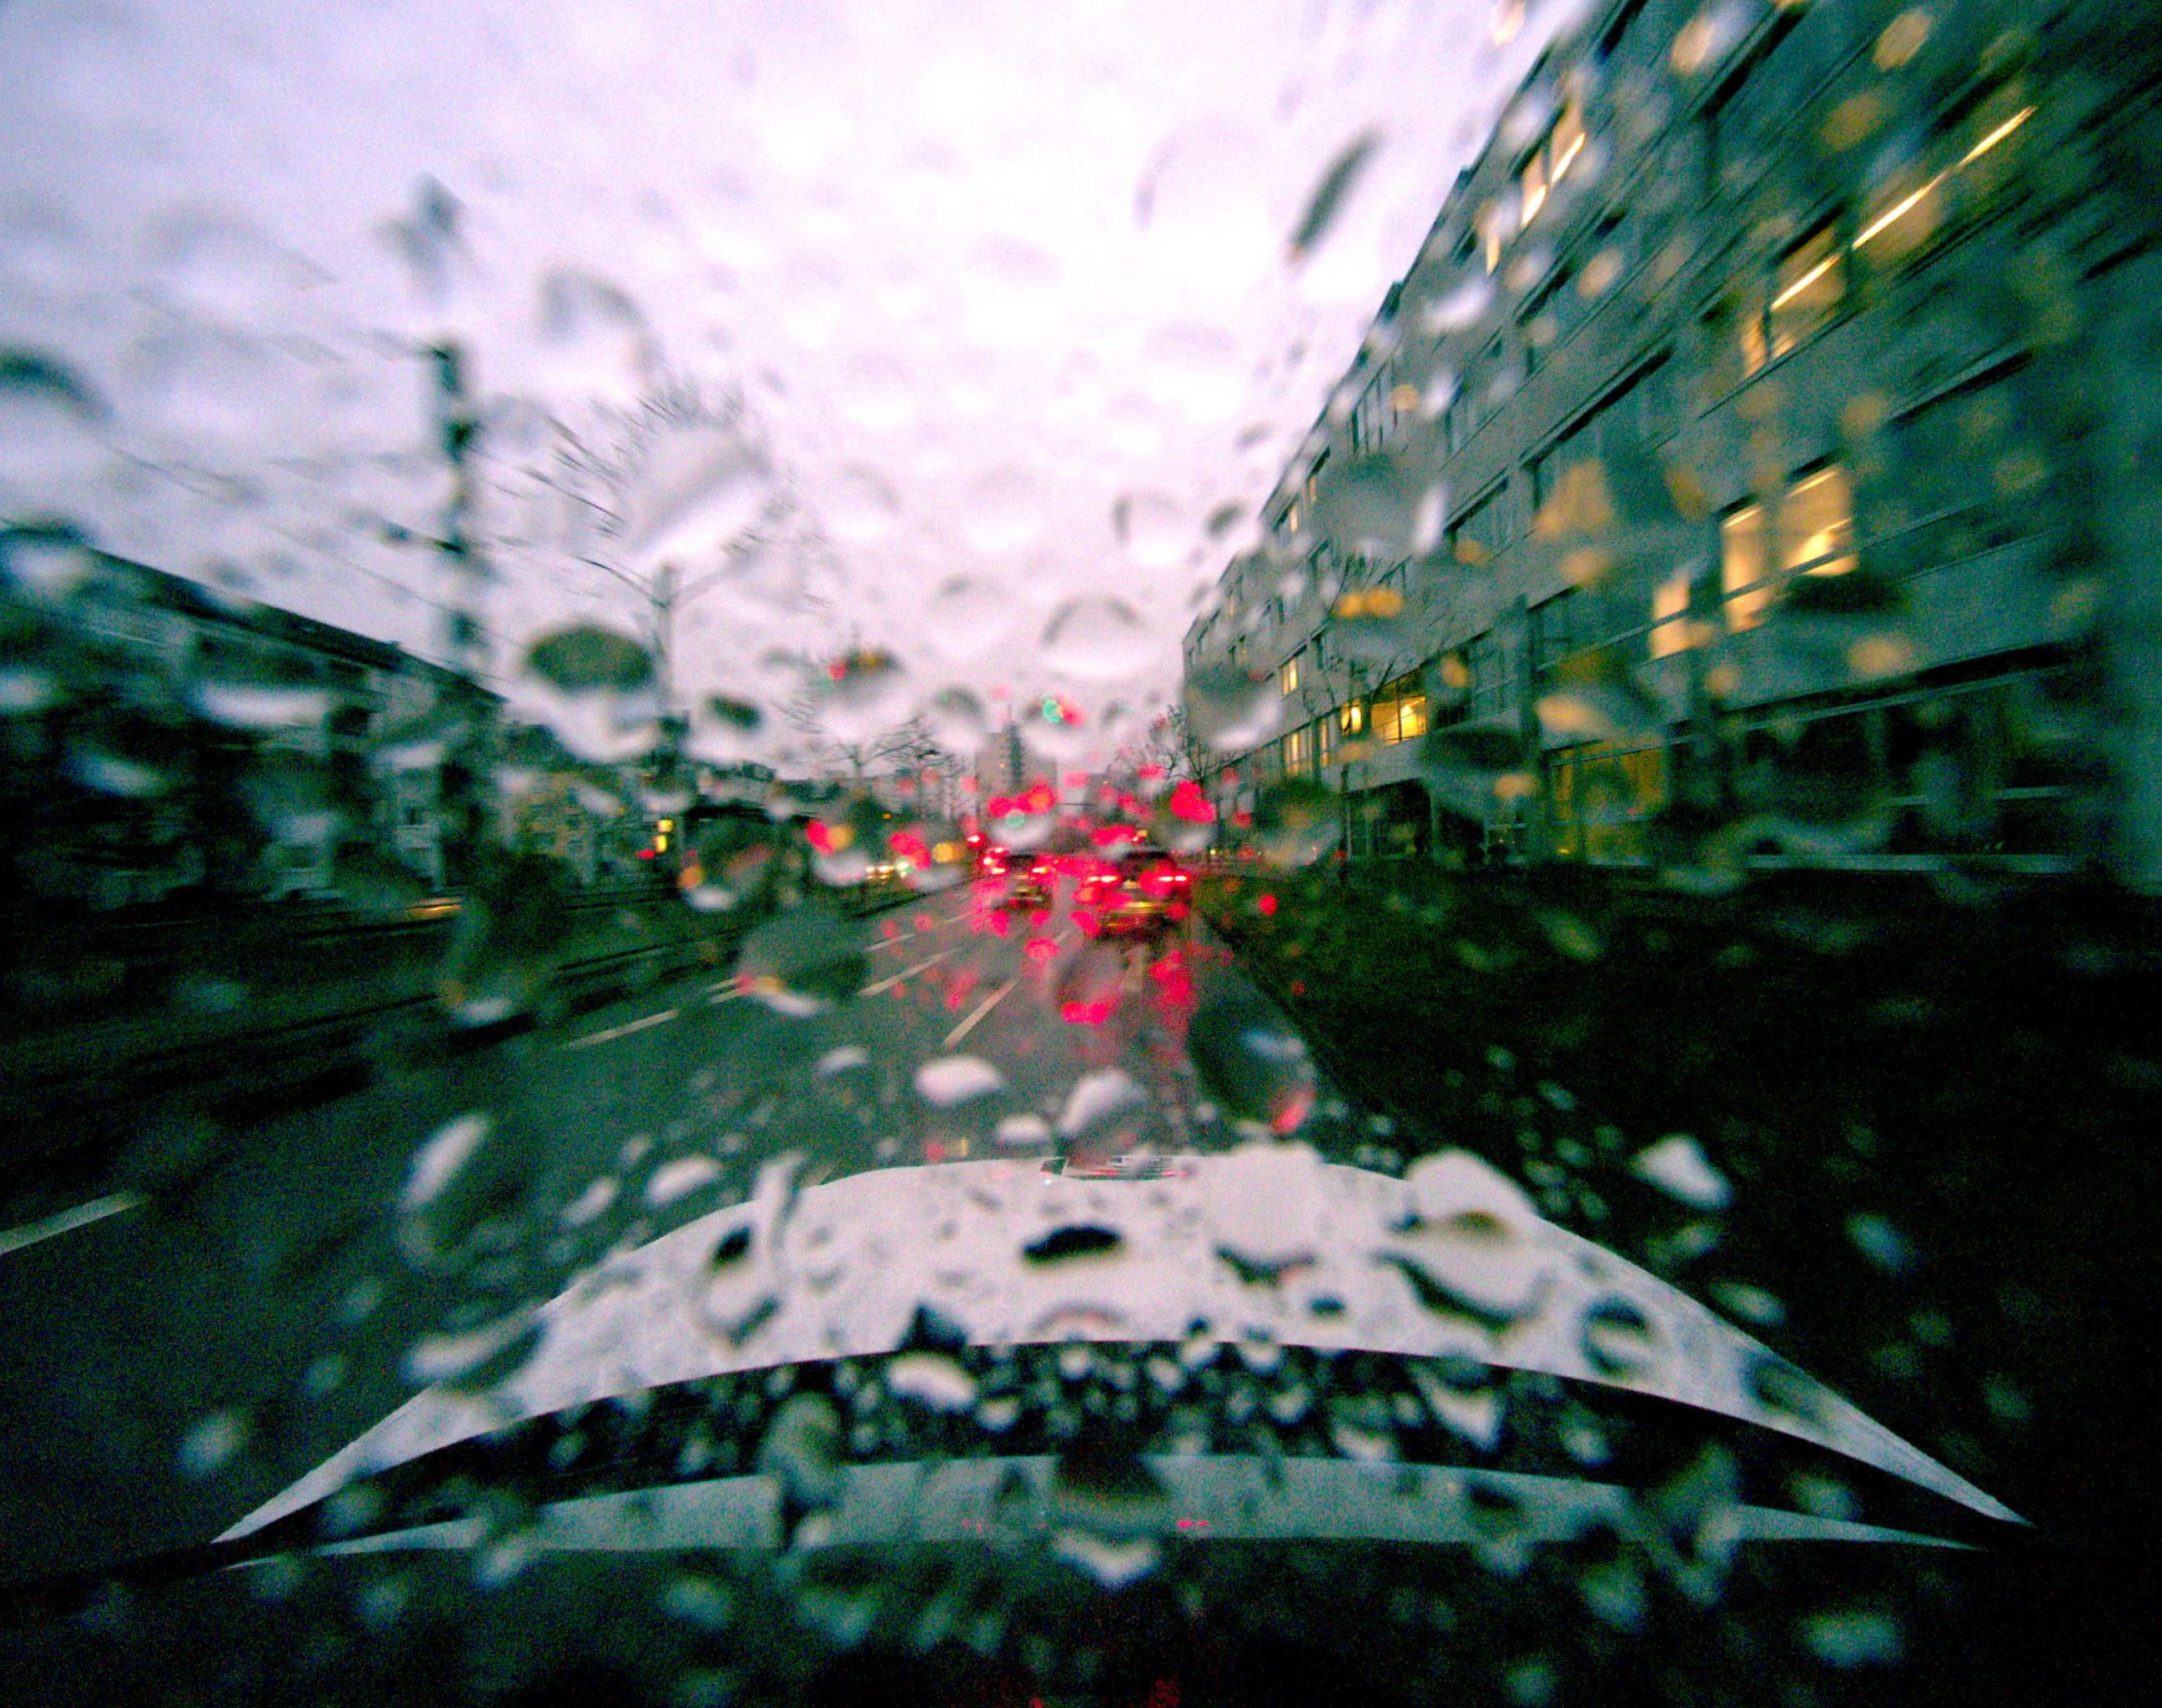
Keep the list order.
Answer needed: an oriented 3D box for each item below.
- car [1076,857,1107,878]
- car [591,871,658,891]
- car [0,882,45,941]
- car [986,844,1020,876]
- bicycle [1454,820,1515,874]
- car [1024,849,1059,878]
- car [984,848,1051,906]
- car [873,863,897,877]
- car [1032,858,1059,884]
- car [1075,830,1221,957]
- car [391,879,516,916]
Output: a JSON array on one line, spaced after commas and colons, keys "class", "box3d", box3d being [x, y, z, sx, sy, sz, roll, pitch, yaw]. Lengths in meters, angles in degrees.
[{"class": "car", "box3d": [0.662, 0.903, 55.793, 1.882, 1.353, 4.098, -1, 0, -2]}, {"class": "car", "box3d": [-32.664, 1.910, 58.325, 3.795, 1.366, 1.694, -1, -1, -8]}, {"class": "car", "box3d": [-31.072, 1.606, 21.660, 1.719, 1.645, 4.150, -1, -1, 0]}, {"class": "car", "box3d": [-5.304, 0.400, 55.747, 1.947, 2.033, 4.879, -2, 0, -2]}, {"class": "bicycle", "box3d": [10.762, -0.202, 21.792, 0.816, 1.273, 2.467, -6, 0, 14]}, {"class": "car", "box3d": [-2.340, 0.586, 49.110, 1.988, 1.642, 4.018, -1, -1, -2]}, {"class": "car", "box3d": [-2.057, 0.744, 26.884, 1.990, 1.712, 4.318, -1, -1, -4]}, {"class": "car", "box3d": [-22.058, 1.781, 91.760, 1.753, 1.497, 3.759, -1, -1, 1]}, {"class": "car", "box3d": [-2.838, 1.374, 66.114, 1.987, 2.014, 3.999, -1, -1, 0]}, {"class": "car", "box3d": [1.060, 0.663, 15.044, 1.990, 1.976, 4.060, -1, -1, -5]}, {"class": "car", "box3d": [-24.939, 1.710, 32.558, 1.774, 1.293, 4.212, -1, -1, -1]}]
